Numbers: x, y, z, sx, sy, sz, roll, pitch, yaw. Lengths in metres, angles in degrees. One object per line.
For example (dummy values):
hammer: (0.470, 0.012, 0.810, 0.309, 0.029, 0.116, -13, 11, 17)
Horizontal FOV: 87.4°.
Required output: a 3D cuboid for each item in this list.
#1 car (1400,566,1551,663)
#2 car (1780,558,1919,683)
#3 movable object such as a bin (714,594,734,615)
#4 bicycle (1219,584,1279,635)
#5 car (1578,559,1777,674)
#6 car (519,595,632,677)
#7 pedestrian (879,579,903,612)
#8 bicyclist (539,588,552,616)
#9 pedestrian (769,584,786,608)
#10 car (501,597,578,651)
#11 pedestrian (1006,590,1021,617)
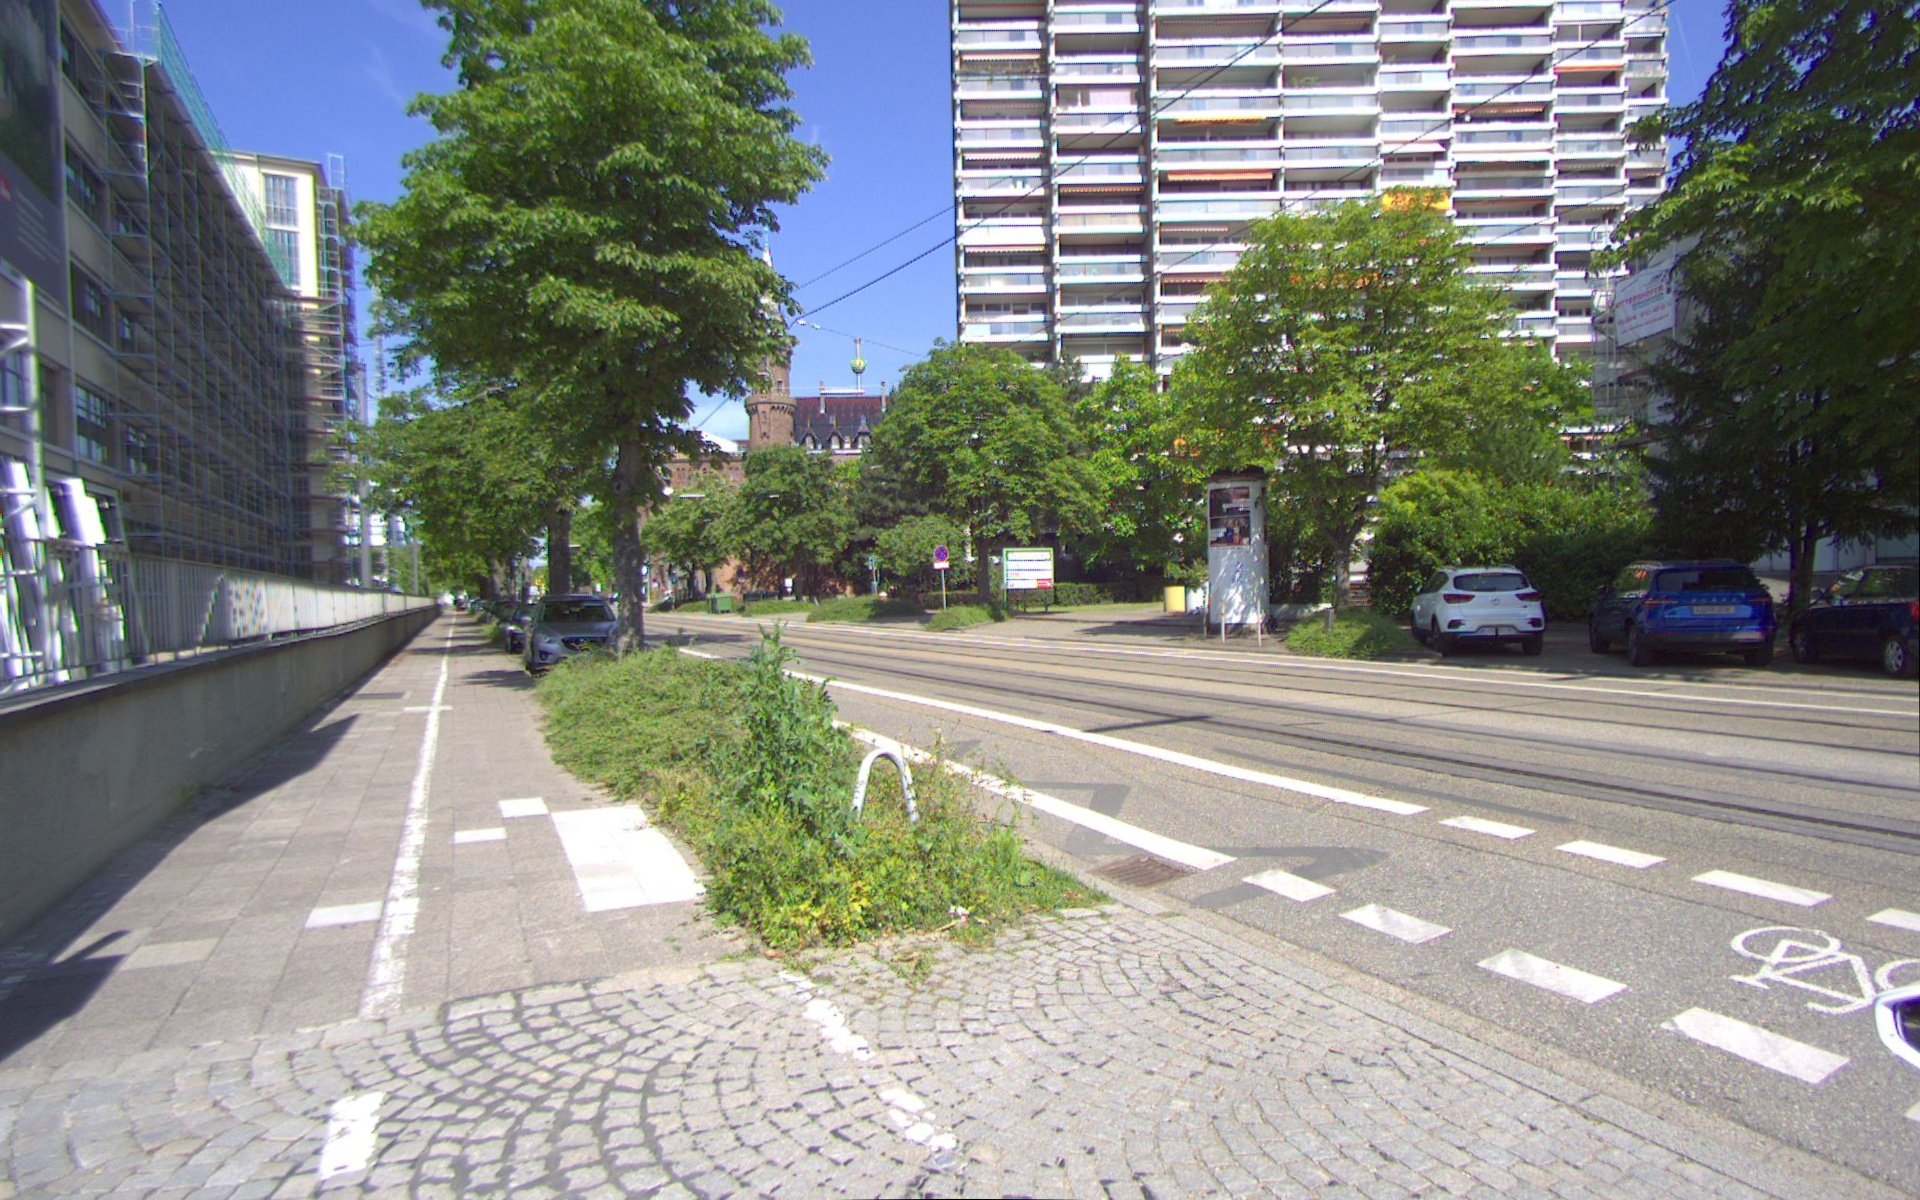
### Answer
car: (9.874, 0.232, 19.561, 1.783, 1.627, 3.946, -3, 0, 15)
car: (13.063, 0.218, 13.841, 1.545, 1.551, 3.458, -1, 1, 17)
movable object such as a bin: (-16.799, 0.307, 71.537, 1.247, 1.473, 1.074, -1, 1, -22)
bicycle: (7.809, 0.245, 27.174, 0.541, 1.326, 1.607, -1, 1, -32)
car: (11.643, 0.182, 16.593, 1.746, 1.644, 3.943, -2, 2, 22)
car: (-8.237, 0.688, 21.331, 1.798, 1.514, 4.079, -1, 1, -27)
pedestrian: (-3.924, -0.259, 57.111, 1.045, 1.822, 1.257, 0, 1, -23)
bicyclist: (-24.407, 0.098, 59.175, 0.624, 1.628, 0.697, -1, 1, -29)
pedestrian: (-13.952, -0.274, 76.789, 1.044, 1.822, 1.258, 0, 1, -22)
car: (-12.617, 0.673, 30.021, 1.798, 1.473, 3.972, -1, 1, -27)
pedestrian: (2.296, 0.152, 43.440, 0.524, 1.170, 0.701, -1, 1, -5)
